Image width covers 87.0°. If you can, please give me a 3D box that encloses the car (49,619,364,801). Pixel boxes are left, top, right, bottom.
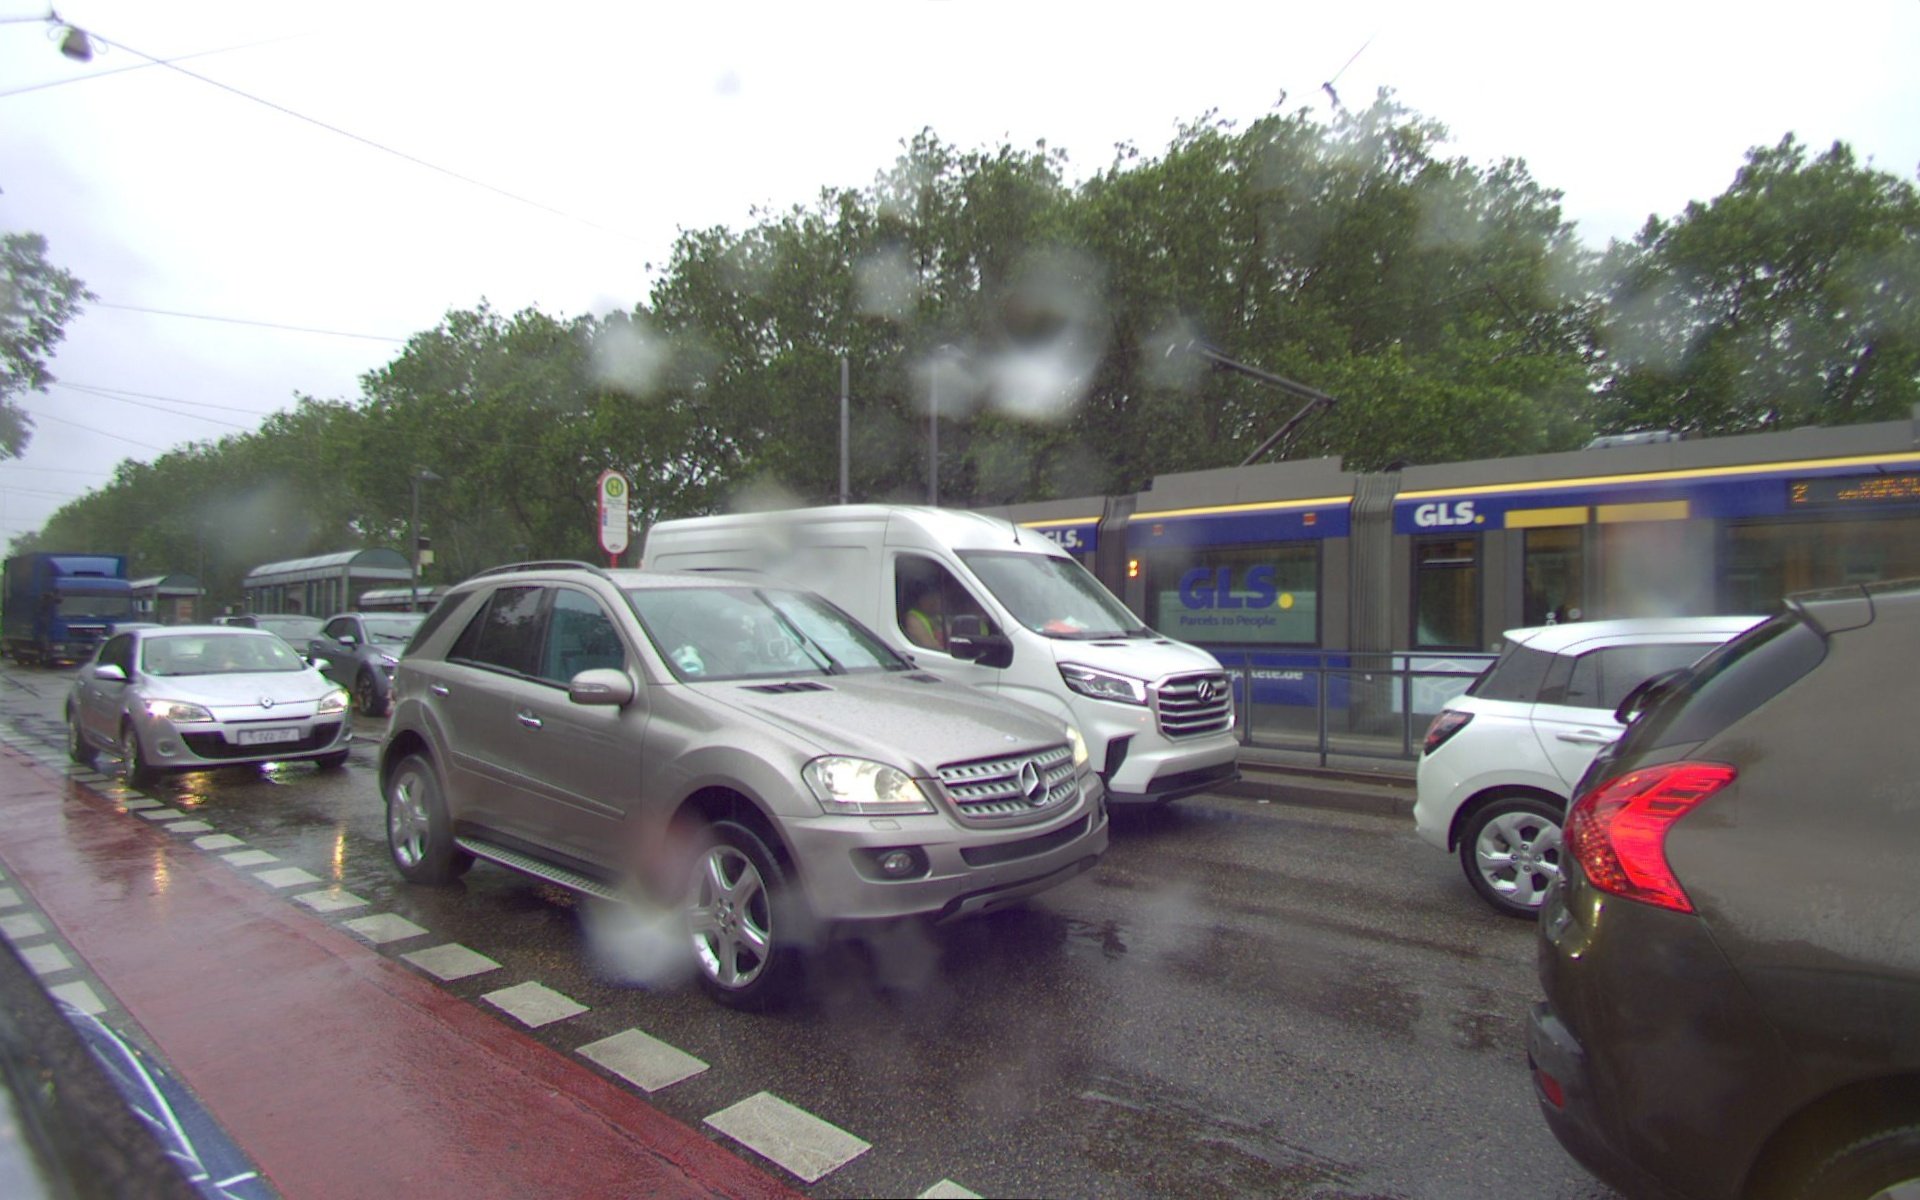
[{"bbox_3d":[-7.832,0.957,10.392,3.998,1.489,1.750,-1,-1,40],"label":"car"}]

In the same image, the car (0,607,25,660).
[{"bbox_3d":[-46.693,1.590,48.770,5.727,2.445,1.972,-1,0,43],"label":"car"}]

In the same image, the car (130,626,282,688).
[{"bbox_3d":[-18.832,1.363,25.213,4.602,1.405,1.973,-1,-3,40],"label":"car"}]

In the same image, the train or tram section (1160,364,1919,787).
[{"bbox_3d":[9.561,-0.235,9.027,15.492,3.439,3.505,-1,0,40],"label":"train or tram section"}]

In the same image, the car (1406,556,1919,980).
[{"bbox_3d":[4.261,0.664,4.537,3.834,1.641,1.628,-1,-2,41],"label":"car"}]

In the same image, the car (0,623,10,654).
[{"bbox_3d":[-52.355,2.066,54.077,3.998,1.589,1.973,-1,-1,41],"label":"car"}]

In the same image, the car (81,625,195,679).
[{"bbox_3d":[-24.549,1.498,30.188,4.074,1.498,1.871,-1,-2,40],"label":"car"}]

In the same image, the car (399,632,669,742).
[{"bbox_3d":[-5.453,0.987,12.722,4.084,1.126,1.448,-1,-1,40],"label":"car"}]

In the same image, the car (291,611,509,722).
[{"bbox_3d":[-9.573,1.041,17.151,4.454,1.636,1.894,-1,-2,43],"label":"car"}]

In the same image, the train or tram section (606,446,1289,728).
[{"bbox_3d":[-1.308,-0.081,18.520,13.652,3.539,3.476,-1,0,41],"label":"train or tram section"}]

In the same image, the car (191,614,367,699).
[{"bbox_3d":[-14.651,1.146,21.688,4.316,1.633,1.974,-1,-2,40],"label":"car"}]

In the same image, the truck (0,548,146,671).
[{"bbox_3d":[-32.210,0.430,36.399,9.803,3.919,2.513,-1,-3,40],"label":"truck"}]

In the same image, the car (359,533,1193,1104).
[{"bbox_3d":[-1.262,0.715,5.388,4.459,1.783,2.004,-1,-1,40],"label":"car"}]

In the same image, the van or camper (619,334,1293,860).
[{"bbox_3d":[-0.375,0.040,8.790,5.846,3.166,2.136,-1,-2,40],"label":"van or camper"}]

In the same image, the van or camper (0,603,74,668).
[{"bbox_3d":[-40.045,1.493,43.557,6.427,2.590,1.973,-1,0,41],"label":"van or camper"}]

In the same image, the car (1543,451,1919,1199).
[{"bbox_3d":[3.283,0.582,1.245,4.170,1.681,1.815,-1,-1,41],"label":"car"}]
